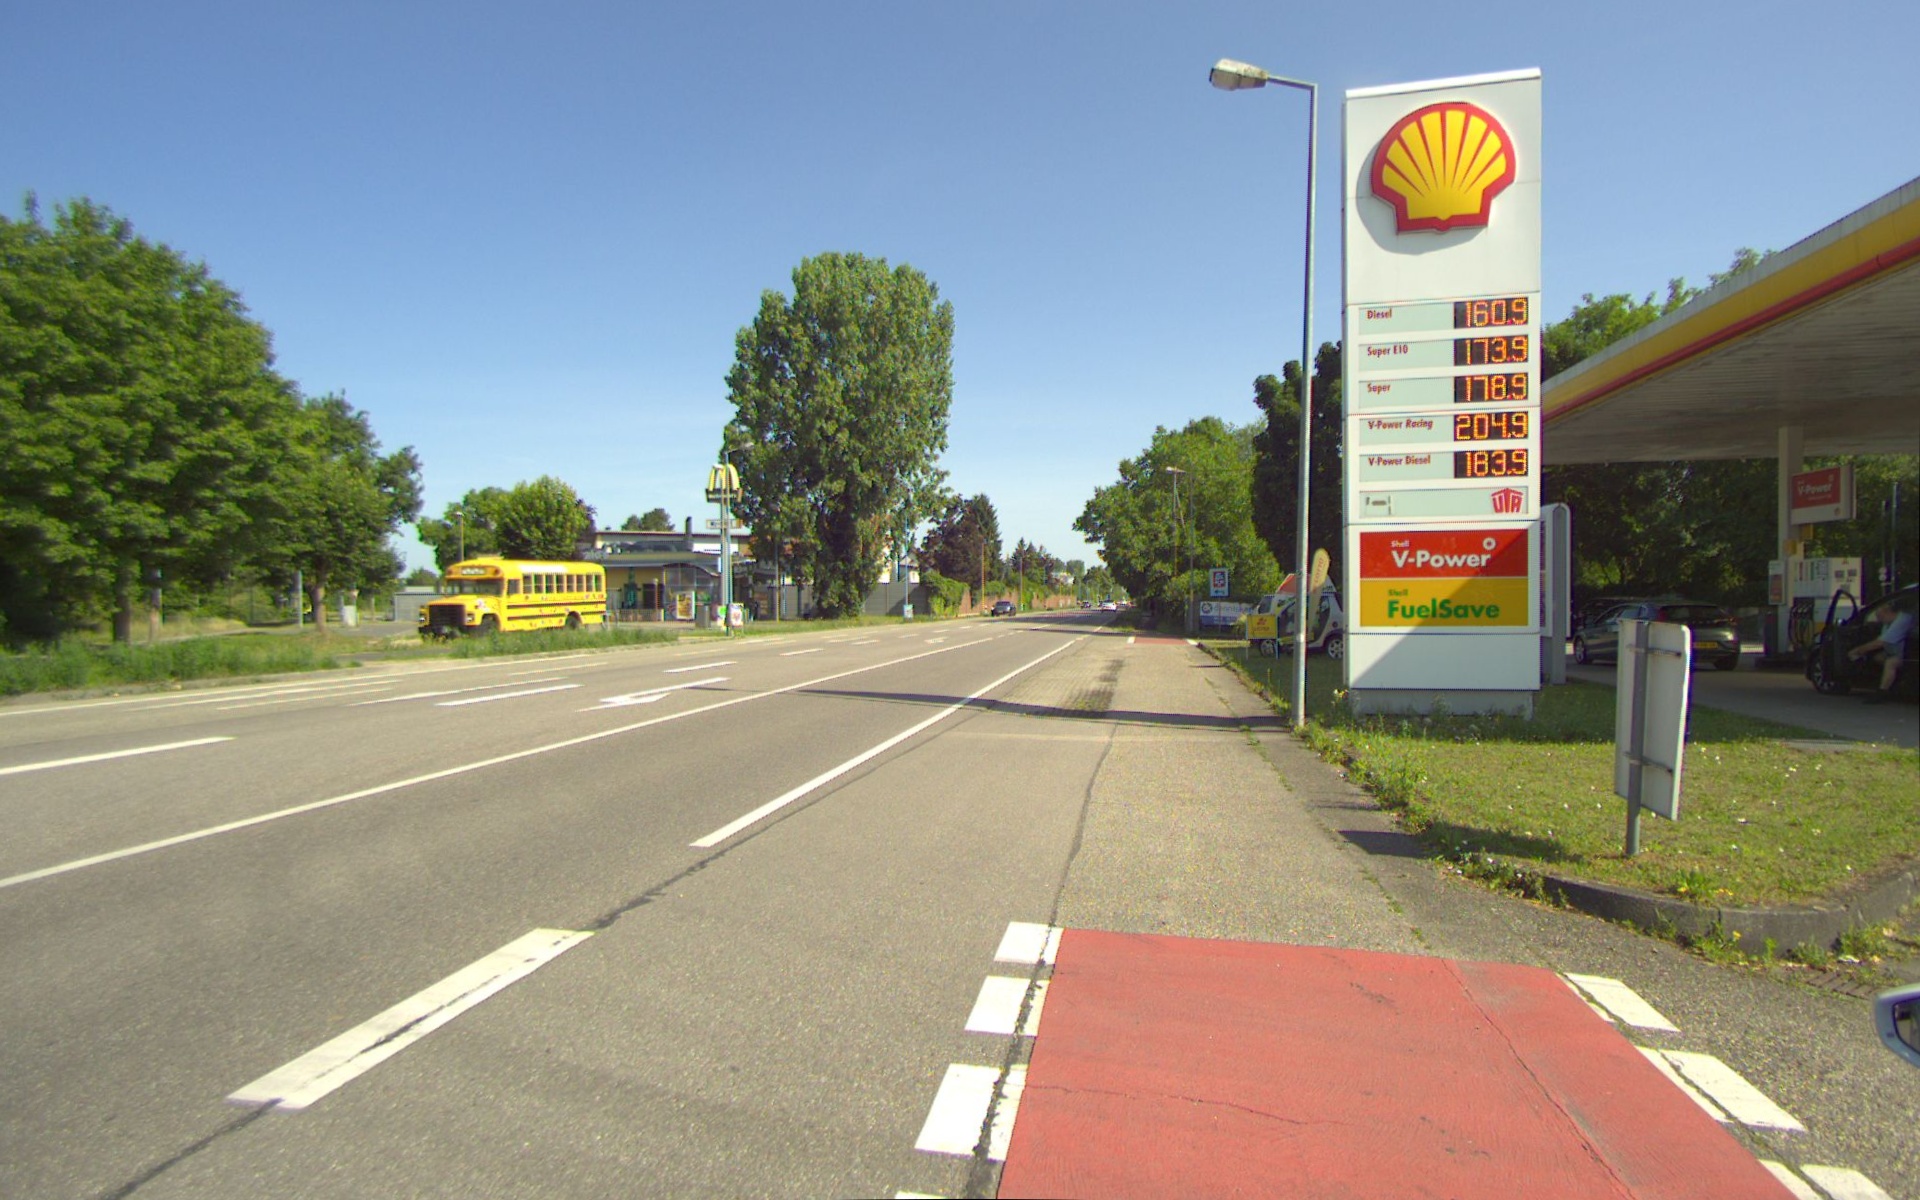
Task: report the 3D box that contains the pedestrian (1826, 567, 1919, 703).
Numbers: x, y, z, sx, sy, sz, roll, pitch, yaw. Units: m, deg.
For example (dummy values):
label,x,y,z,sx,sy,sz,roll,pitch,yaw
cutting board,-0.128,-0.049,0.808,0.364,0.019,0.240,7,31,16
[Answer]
label,x,y,z,sx,sy,sz,roll,pitch,yaw
pedestrian,12.175,0.448,13.408,0.661,1.752,0.812,0,0,17

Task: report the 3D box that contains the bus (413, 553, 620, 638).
label,x,y,z,sx,sy,sz,roll,pitch,yaw
bus,-16.030,-0.112,37.333,2.535,2.715,9.002,2,0,9

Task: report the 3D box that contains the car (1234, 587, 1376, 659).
label,x,y,z,sx,sy,sz,roll,pitch,yaw
car,7.936,0.514,23.221,1.562,1.550,2.704,2,-1,-35

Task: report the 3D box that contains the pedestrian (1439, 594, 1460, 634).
label,x,y,z,sx,sy,sz,roll,pitch,yaw
pedestrian,19.026,0.546,39.042,0.664,1.557,0.394,0,0,15

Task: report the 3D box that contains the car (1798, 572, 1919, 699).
label,x,y,z,sx,sy,sz,roll,pitch,yaw
car,13.032,0.443,12.911,1.729,1.599,3.880,0,0,9

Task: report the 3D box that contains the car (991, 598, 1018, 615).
label,x,y,z,sx,sy,sz,roll,pitch,yaw
car,4.240,0.584,95.689,1.815,1.515,4.914,-2,-1,11

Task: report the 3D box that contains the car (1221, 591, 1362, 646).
label,x,y,z,sx,sy,sz,roll,pitch,yaw
car,10.400,0.568,31.701,3.920,1.550,1.586,2,0,4

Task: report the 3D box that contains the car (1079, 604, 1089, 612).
label,x,y,z,sx,sy,sz,roll,pitch,yaw
car,24.873,1.583,201.542,1.815,1.561,4.227,2,0,11

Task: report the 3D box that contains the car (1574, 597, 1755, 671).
label,x,y,z,sx,sy,sz,roll,pitch,yaw
car,14.473,0.638,20.901,1.767,1.379,3.850,0,0,13

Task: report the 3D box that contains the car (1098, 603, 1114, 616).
label,x,y,z,sx,sy,sz,roll,pitch,yaw
car,18.665,1.237,127.969,1.815,1.561,4.227,2,0,11

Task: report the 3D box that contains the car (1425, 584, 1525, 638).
label,x,y,z,sx,sy,sz,roll,pitch,yaw
car,18.466,0.391,36.234,1.959,1.789,4.002,2,0,8
